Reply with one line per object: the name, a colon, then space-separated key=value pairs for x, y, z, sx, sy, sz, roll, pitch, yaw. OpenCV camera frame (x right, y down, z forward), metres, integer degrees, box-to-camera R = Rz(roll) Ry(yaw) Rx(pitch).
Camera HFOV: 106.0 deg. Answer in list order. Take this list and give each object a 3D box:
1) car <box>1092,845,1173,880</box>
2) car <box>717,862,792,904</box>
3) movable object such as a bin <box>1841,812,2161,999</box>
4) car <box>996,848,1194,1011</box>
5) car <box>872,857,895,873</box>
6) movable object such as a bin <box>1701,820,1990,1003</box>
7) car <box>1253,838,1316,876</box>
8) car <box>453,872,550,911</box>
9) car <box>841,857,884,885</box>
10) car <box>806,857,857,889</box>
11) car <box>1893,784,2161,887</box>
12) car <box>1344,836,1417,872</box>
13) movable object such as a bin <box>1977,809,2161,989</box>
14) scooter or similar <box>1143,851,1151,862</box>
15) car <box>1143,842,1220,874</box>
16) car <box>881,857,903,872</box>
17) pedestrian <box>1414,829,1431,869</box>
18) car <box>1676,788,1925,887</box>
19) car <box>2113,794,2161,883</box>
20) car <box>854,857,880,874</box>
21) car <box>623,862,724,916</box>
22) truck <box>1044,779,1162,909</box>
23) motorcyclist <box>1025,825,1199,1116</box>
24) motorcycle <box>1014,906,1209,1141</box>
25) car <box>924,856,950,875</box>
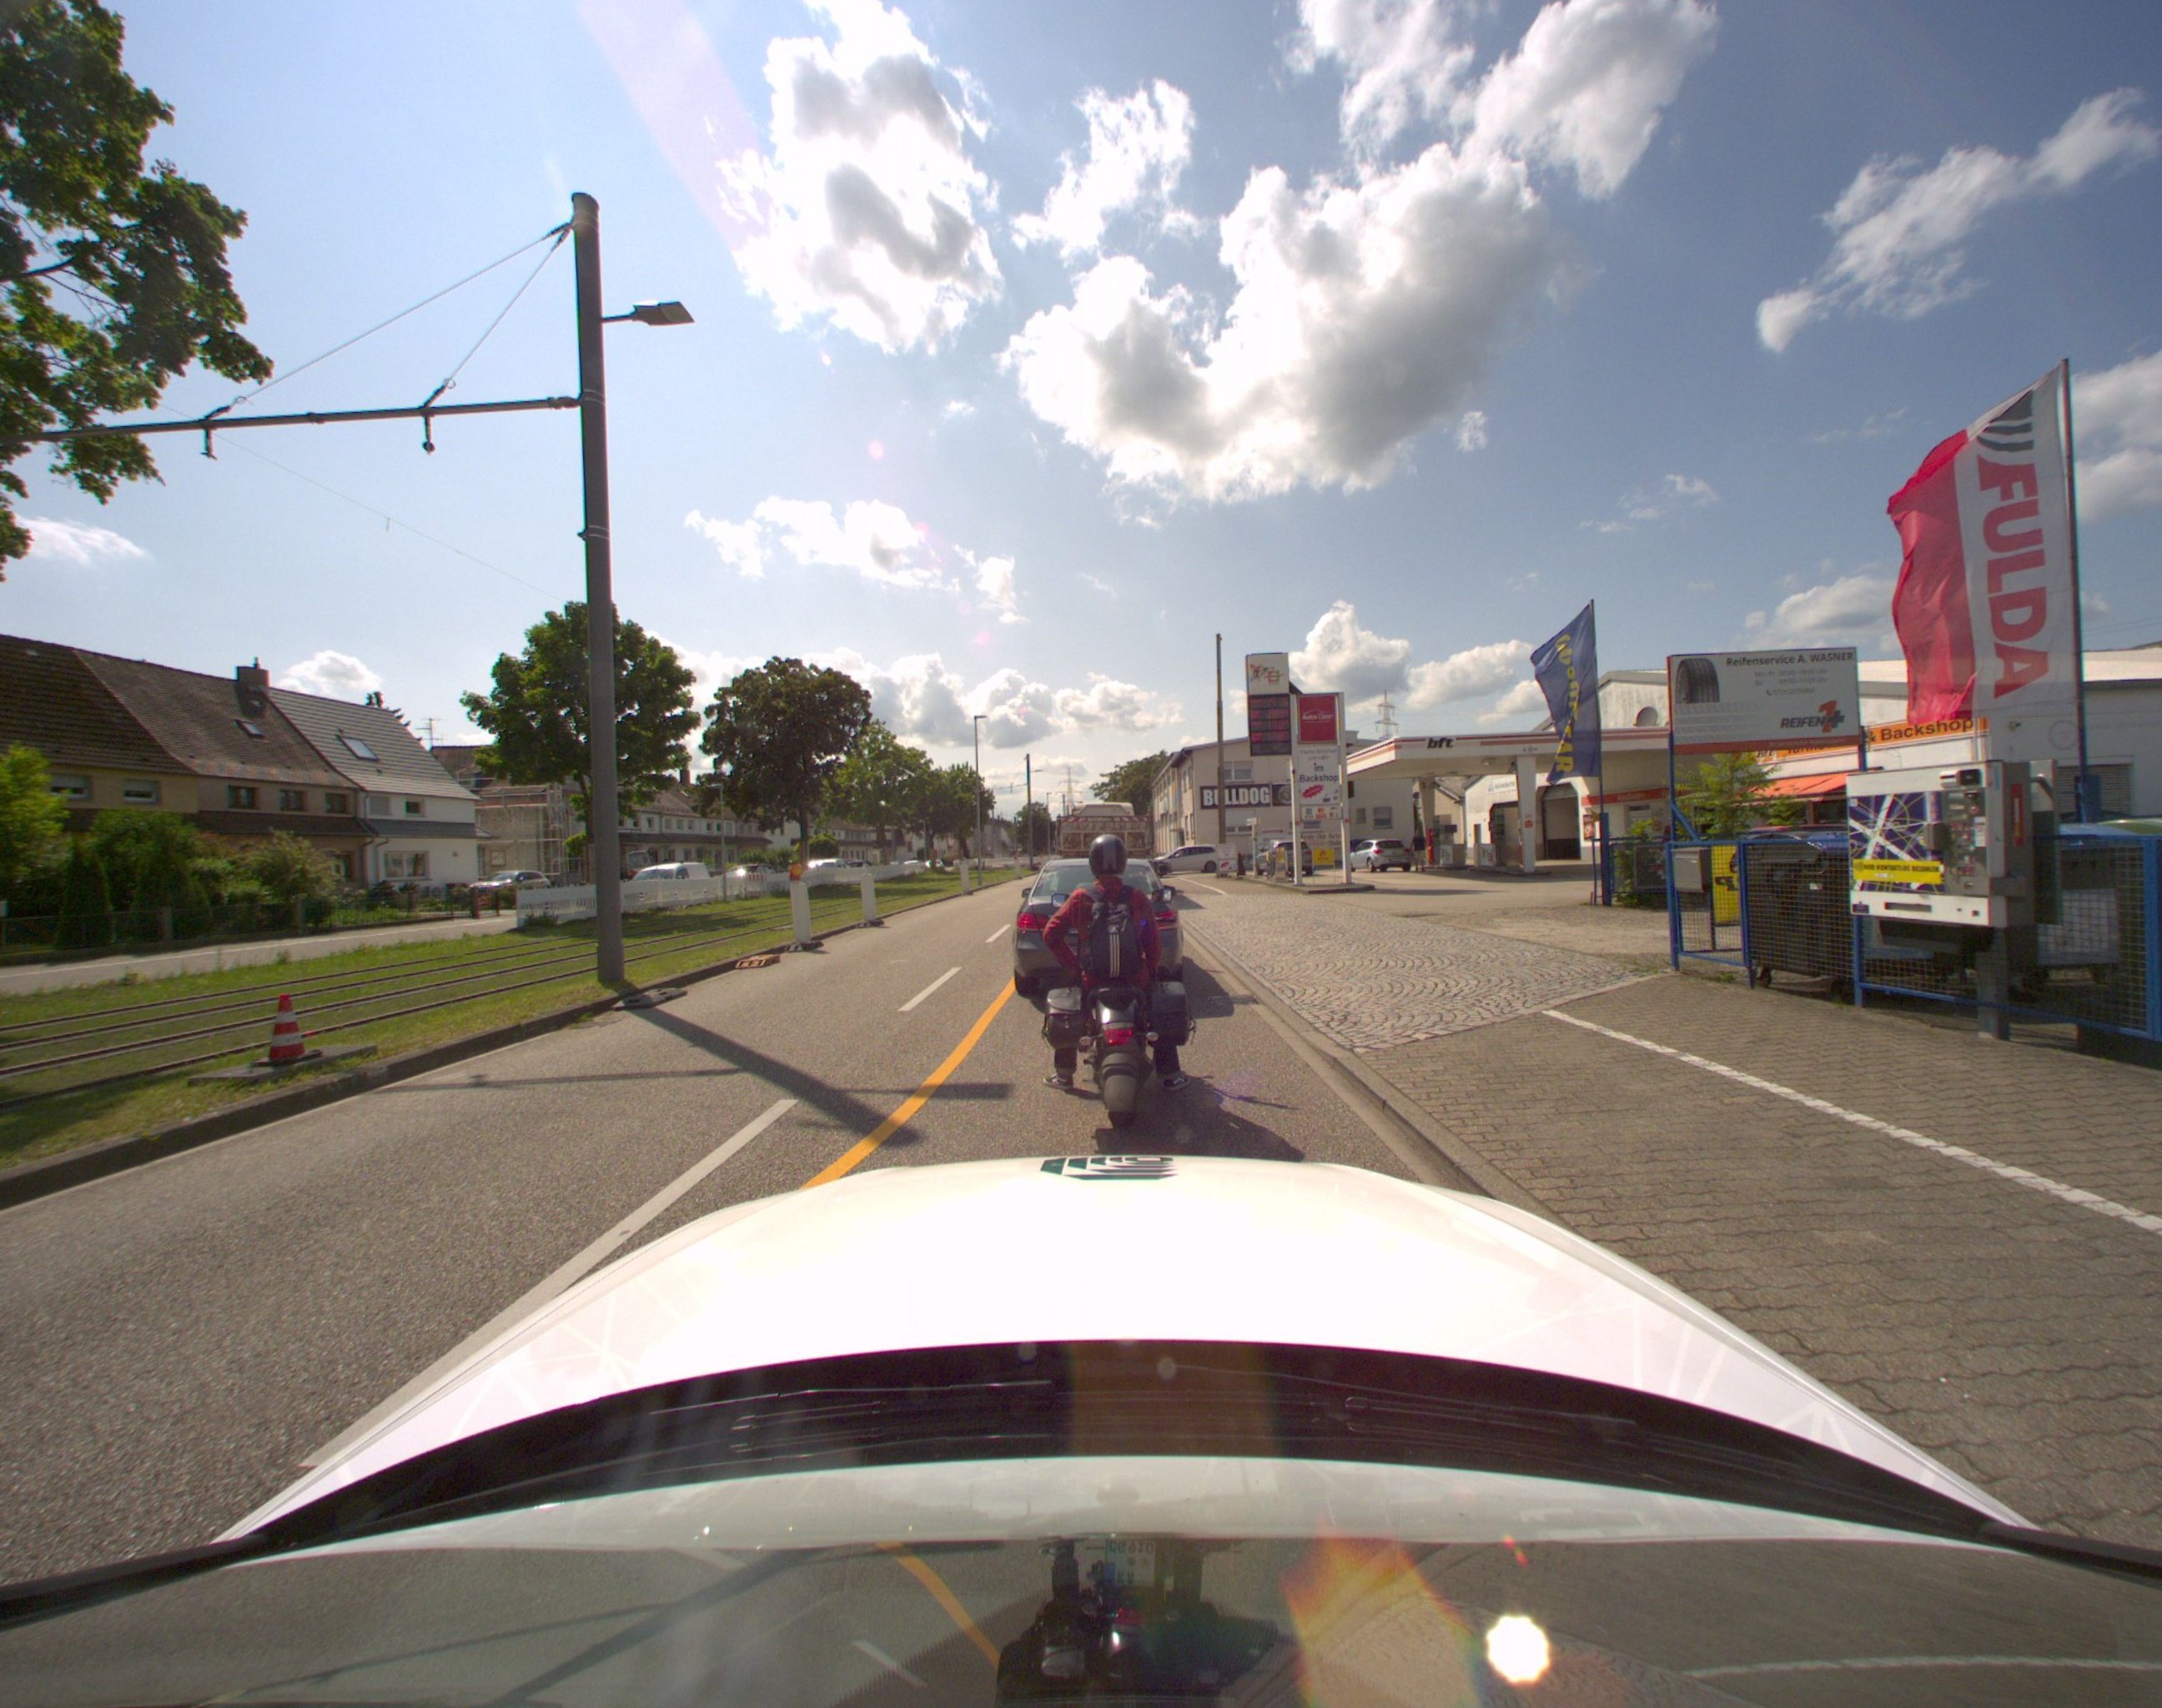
car: x=2.782 y=0.438 z=43.512 sx=4.082 sy=1.624 sz=1.690 roll=-2 pitch=0 yaw=8
car: x=-15.328 y=1.326 z=38.490 sx=1.692 sy=1.739 sz=4.056 roll=-2 pitch=0 yaw=2
movable object such as a bin: x=8.102 y=0.415 z=7.283 sx=1.222 sy=1.454 sz=1.455 roll=-2 pitch=0 yaw=0
car: x=0.165 y=0.720 z=9.812 sx=1.826 sy=1.479 sz=4.009 roll=-3 pitch=0 yaw=1
car: x=-24.051 y=1.340 z=99.344 sx=1.692 sy=1.739 sz=4.064 roll=-2 pitch=0 yaw=2
movable object such as a bin: x=6.822 y=0.469 z=7.407 sx=1.222 sy=1.454 sz=1.455 roll=-2 pitch=0 yaw=0
car: x=9.066 y=0.122 z=36.580 sx=1.826 sy=1.536 sz=4.009 roll=-3 pitch=0 yaw=1
car: x=-27.481 y=1.733 z=38.796 sx=1.692 sy=1.593 sz=3.862 roll=-2 pitch=0 yaw=2
car: x=-14.871 y=1.142 z=55.729 sx=1.692 sy=1.739 sz=3.862 roll=-2 pitch=0 yaw=2
car: x=-15.083 y=1.113 z=49.394 sx=1.692 sy=1.739 sz=3.862 roll=-2 pitch=0 yaw=2
car: x=21.247 y=-0.402 z=18.273 sx=3.972 sy=2.013 sz=2.001 roll=-2 pitch=0 yaw=1
car: x=13.536 y=-0.023 z=37.072 sx=1.826 sy=1.479 sz=4.009 roll=-3 pitch=0 yaw=1
movable object such as a bin: x=9.447 y=0.334 z=7.193 sx=1.425 sy=1.454 sz=1.455 roll=-2 pitch=0 yaw=0
scooter or similar: x=7.082 y=0.282 z=87.276 sx=0.792 sy=1.144 sz=1.520 roll=-2 pitch=0 yaw=2
car: x=5.763 y=0.228 z=47.052 sx=4.101 sy=1.624 sz=1.682 roll=-3 pitch=0 yaw=-7
car: x=-24.381 y=1.348 z=105.368 sx=1.692 sy=1.739 sz=4.064 roll=-2 pitch=0 yaw=2
pedestrian: x=14.839 y=-0.210 z=35.391 sx=0.628 sy=1.683 sz=0.626 roll=-2 pitch=0 yaw=23
car: x=16.599 y=-0.372 z=18.965 sx=3.972 sy=2.013 sz=2.001 roll=-2 pitch=0 yaw=1
car: x=26.350 y=-0.435 z=18.188 sx=3.972 sy=2.013 sz=2.001 roll=-2 pitch=0 yaw=1
car: x=-24.467 y=1.306 z=93.142 sx=1.692 sy=1.739 sz=4.064 roll=-2 pitch=0 yaw=2
car: x=-15.420 y=1.279 z=31.059 sx=1.692 sy=1.817 sz=3.862 roll=-2 pitch=0 yaw=2
truck: x=0.640 y=-0.282 z=25.607 sx=2.960 sy=3.304 sz=8.407 roll=-2 pitch=0 yaw=1
motorcyclist: x=0.192 y=0.653 z=5.199 sx=0.966 sy=1.633 sz=1.215 roll=-1 pitch=0 yaw=1
motorcycle: x=0.193 y=0.931 z=5.316 sx=0.972 sy=1.013 sz=2.433 roll=-1 pitch=0 yaw=2
car: x=-14.185 y=1.154 z=80.459 sx=1.692 sy=1.739 sz=3.862 roll=-2 pitch=0 yaw=2
